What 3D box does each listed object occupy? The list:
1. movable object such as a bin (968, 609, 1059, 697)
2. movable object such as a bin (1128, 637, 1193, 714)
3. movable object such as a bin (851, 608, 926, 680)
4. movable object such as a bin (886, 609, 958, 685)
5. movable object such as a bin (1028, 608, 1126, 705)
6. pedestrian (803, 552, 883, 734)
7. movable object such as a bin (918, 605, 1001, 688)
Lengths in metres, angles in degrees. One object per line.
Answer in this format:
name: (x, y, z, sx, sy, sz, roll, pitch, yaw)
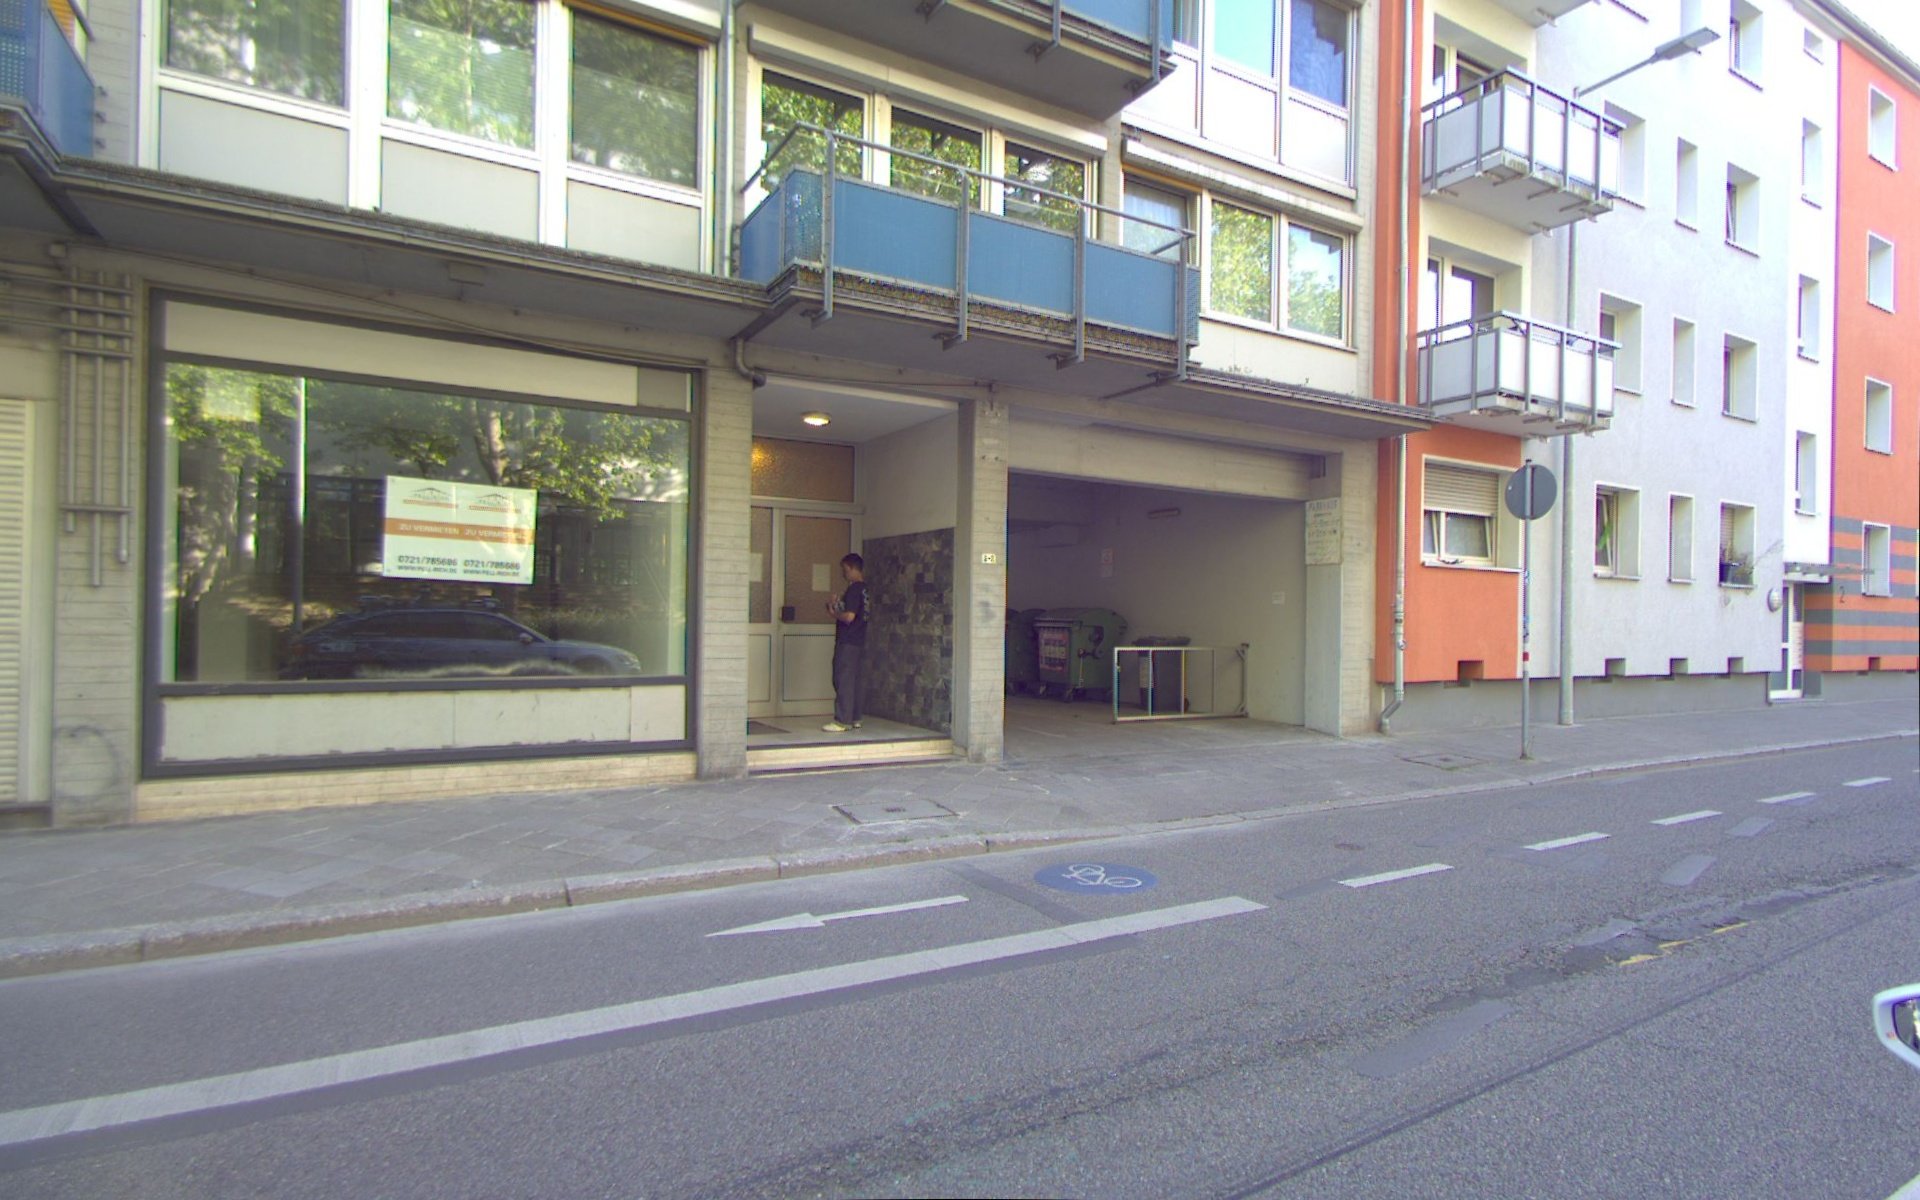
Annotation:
movable object such as a bin: (0.900, 0.876, 17.153, 1.010, 1.409, 1.319, 1, 0, -27)
movable object such as a bin: (2.887, 1.068, 14.479, 0.704, 1.054, 0.583, 1, 0, -30)
movable object such as a bin: (-1.479, 0.874, 20.659, 1.014, 1.409, 1.264, 1, 0, -37)
movable object such as a bin: (-0.748, 0.901, 19.667, 1.012, 1.409, 1.046, 1, 0, -31)
movable object such as a bin: (1.821, 0.862, 15.821, 1.009, 1.438, 1.321, 1, 0, -23)
pedestrian: (-1.174, 0.418, 10.110, 0.518, 1.764, 0.630, 1, 0, 27)
movable object such as a bin: (-0.024, 0.844, 18.664, 1.011, 1.462, 1.318, 1, 0, -29)
